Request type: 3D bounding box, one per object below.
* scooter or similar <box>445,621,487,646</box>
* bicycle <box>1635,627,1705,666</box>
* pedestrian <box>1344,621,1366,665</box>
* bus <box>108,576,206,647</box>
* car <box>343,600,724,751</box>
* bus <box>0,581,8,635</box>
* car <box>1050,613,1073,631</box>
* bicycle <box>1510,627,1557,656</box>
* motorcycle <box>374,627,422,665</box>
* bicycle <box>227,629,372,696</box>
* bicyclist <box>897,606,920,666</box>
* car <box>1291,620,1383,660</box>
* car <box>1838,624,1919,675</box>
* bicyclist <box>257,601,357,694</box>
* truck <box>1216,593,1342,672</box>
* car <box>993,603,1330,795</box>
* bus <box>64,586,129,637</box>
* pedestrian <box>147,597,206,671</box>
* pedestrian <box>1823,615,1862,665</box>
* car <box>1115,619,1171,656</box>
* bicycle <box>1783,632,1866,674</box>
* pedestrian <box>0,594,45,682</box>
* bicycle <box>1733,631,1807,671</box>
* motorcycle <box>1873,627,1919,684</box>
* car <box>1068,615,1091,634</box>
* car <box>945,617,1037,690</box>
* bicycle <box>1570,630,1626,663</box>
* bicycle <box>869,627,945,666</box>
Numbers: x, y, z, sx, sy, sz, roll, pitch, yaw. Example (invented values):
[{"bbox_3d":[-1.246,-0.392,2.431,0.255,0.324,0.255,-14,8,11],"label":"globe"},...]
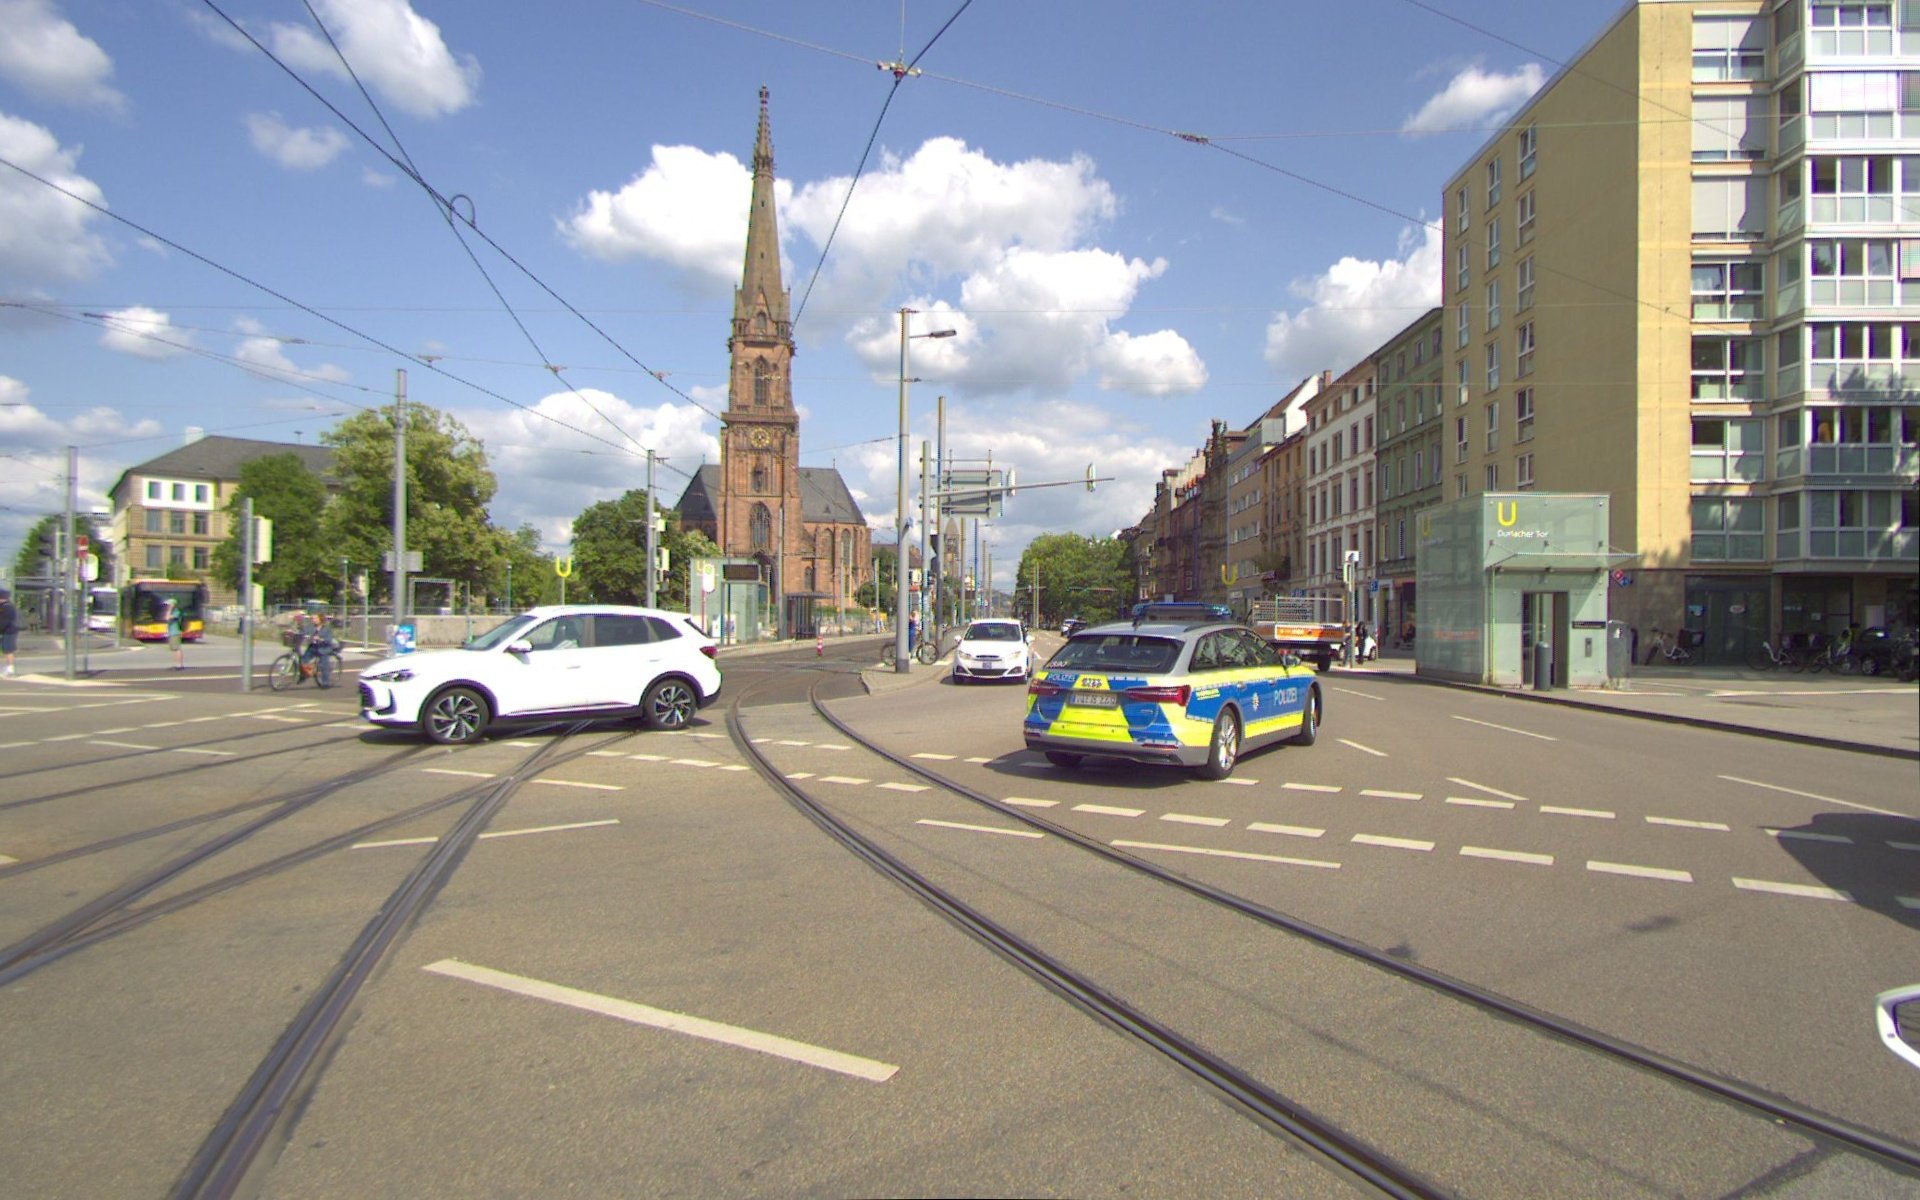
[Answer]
[{"bbox_3d":[-23.340,1.563,47.444,1.633,1.120,0.842,0,1,-41],"label":"scooter or similar"},{"bbox_3d":[24.273,1.579,34.378,1.773,1.275,0.797,0,0,12],"label":"bicycle"},{"bbox_3d":[14.249,1.549,36.226,0.544,1.554,0.700,1,-2,5],"label":"pedestrian"},{"bbox_3d":[-40.640,0.585,50.630,2.815,3.178,12.676,1,-1,-43],"label":"bus"},{"bbox_3d":[-5.512,0.878,13.209,4.250,1.661,2.021,1,-1,-38],"label":"car"},{"bbox_3d":[-66.894,0.612,67.905,3.453,3.226,23.468,1,-1,-44],"label":"bus"},{"bbox_3d":[9.895,2.128,98.187,2.005,1.599,4.540,0,0,3],"label":"car"},{"bbox_3d":[23.018,1.664,40.373,0.781,1.118,1.809,0,0,-3],"label":"bicycle"},{"bbox_3d":[-18.888,1.524,33.783,0.474,1.253,1.447,1,-1,18],"label":"motorcycle"},{"bbox_3d":[-12.856,1.186,19.651,0.975,1.204,2.302,1,-1,13],"label":"bicycle"},{"bbox_3d":[-1.603,1.113,31.391,0.696,1.821,0.779,0,1,-2],"label":"bicyclist"},{"bbox_3d":[15.525,1.629,41.317,3.868,1.516,1.878,2,-1,-40],"label":"car"},{"bbox_3d":[28.246,1.470,29.377,1.639,1.416,4.000,1,-1,0],"label":"car"},{"bbox_3d":[-12.806,0.920,19.748,0.975,1.754,1.302,1,-1,13],"label":"bicyclist"},{"bbox_3d":[9.605,0.956,30.834,2.299,2.184,5.854,1,-1,3],"label":"truck"},{"bbox_3d":[2.377,0.856,10.720,1.855,1.589,4.600,0,-1,35],"label":"car"},{"bbox_3d":[-69.348,0.980,80.632,3.581,3.680,18.645,1,-2,-41],"label":"bus"},{"bbox_3d":[-19.763,0.841,25.353,1.008,1.822,0.767,1,1,22],"label":"pedestrian"},{"bbox_3d":[29.928,1.344,34.067,0.845,1.629,0.829,1,1,33],"label":"pedestrian"},{"bbox_3d":[7.713,1.541,42.651,1.817,1.494,4.001,0,-1,2],"label":"car"},{"bbox_3d":[26.225,1.590,30.512,0.781,1.162,1.949,0,0,-2],"label":"bicycle"},{"bbox_3d":[-21.107,0.834,22.350,0.813,1.928,0.765,0,1,-16],"label":"pedestrian"},{"bbox_3d":[25.068,1.557,31.116,0.781,1.162,1.809,0,0,-2],"label":"bicycle"},{"bbox_3d":[22.302,1.280,23.594,0.890,1.254,2.213,-1,-2,33],"label":"motorcycle"},{"bbox_3d":[9.881,2.009,83.121,1.707,1.395,4.001,1,0,4],"label":"car"},{"bbox_3d":[0.822,1.187,23.563,1.960,1.548,4.095,0,-1,4],"label":"car"},{"bbox_3d":[22.766,1.643,35.862,0.781,1.118,1.809,0,0,-3],"label":"bicycle"},{"bbox_3d":[-1.651,1.447,31.429,2.312,1.153,0.889,0,1,-3],"label":"bicycle"}]
